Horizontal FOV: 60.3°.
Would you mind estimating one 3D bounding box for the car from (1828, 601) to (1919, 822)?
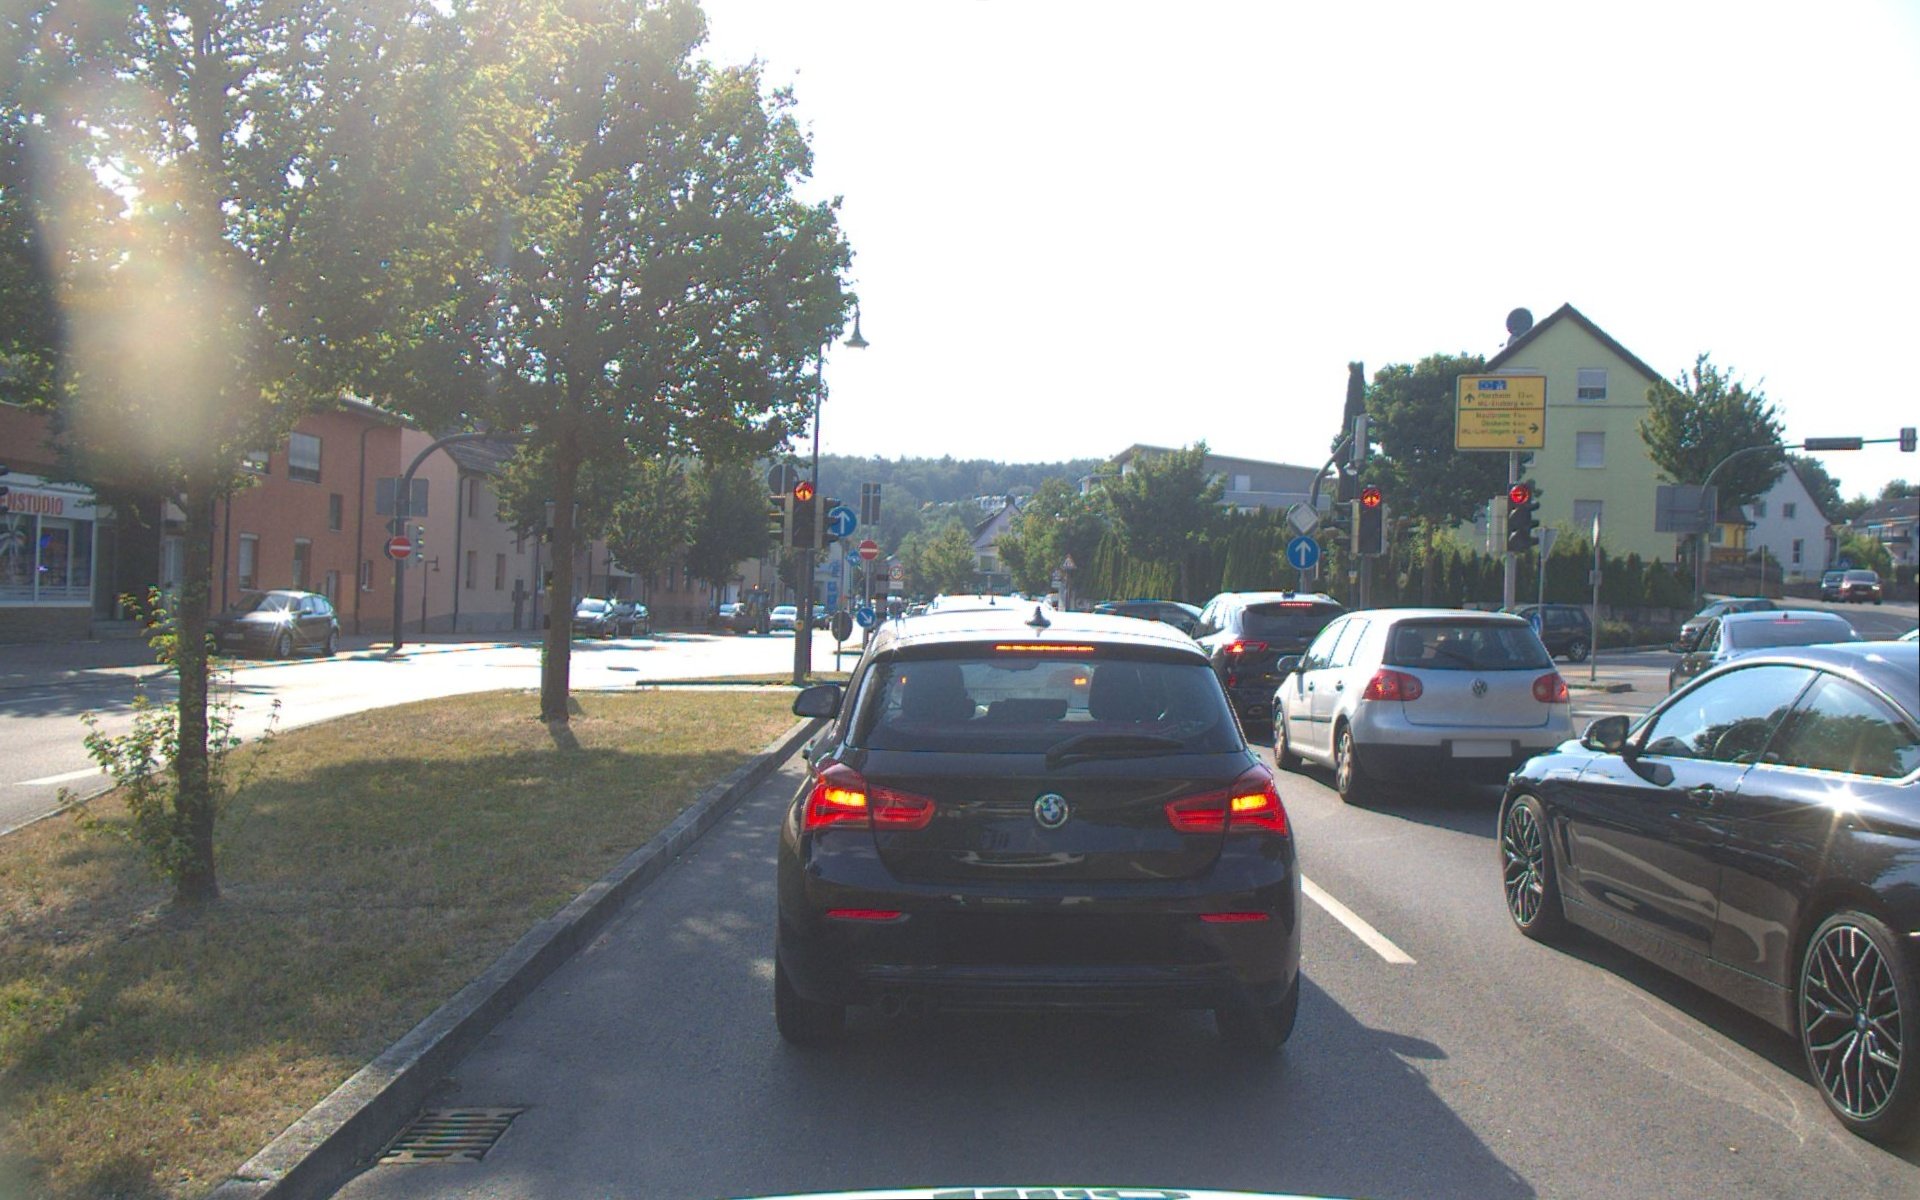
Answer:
[{"bbox_3d":[7.621,0.795,11.635,1.583,1.569,3.320,-1,0,6],"label":"car"}]

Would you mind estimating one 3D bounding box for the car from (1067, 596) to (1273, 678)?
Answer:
[{"bbox_3d":[4.645,0.779,36.523,4.117,1.709,1.970,0,0,25],"label":"car"}]

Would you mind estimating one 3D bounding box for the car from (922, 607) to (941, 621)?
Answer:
[{"bbox_3d":[-3.087,1.520,177.756,1.701,1.323,3.800,5,0,2],"label":"car"}]

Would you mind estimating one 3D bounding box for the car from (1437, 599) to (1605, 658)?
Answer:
[{"bbox_3d":[15.165,0.761,44.843,3.907,1.515,1.847,1,0,-3],"label":"car"}]

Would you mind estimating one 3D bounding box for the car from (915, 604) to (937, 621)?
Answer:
[{"bbox_3d":[-3.133,1.153,154.031,1.701,1.323,3.800,5,0,2],"label":"car"}]

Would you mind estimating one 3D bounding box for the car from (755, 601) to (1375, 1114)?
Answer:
[{"bbox_3d":[0.296,0.731,6.846,1.751,1.422,4.280,-1,0,0],"label":"car"}]

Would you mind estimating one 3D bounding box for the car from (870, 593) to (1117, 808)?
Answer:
[{"bbox_3d":[0.236,0.711,13.991,1.751,1.520,4.280,-1,0,0],"label":"car"}]

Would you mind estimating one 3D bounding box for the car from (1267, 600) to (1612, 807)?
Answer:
[{"bbox_3d":[3.792,0.736,13.783,1.725,1.451,3.902,-1,0,0],"label":"car"}]

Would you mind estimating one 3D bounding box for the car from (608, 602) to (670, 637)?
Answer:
[{"bbox_3d":[-14.123,0.835,72.905,1.701,1.323,4.001,5,0,2],"label":"car"}]

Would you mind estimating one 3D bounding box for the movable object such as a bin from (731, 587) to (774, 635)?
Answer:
[{"bbox_3d":[-11.080,0.585,88.522,1.701,2.485,4.449,0,0,0],"label":"movable object such as a bin"}]

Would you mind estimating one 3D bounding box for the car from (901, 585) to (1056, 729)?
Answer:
[{"bbox_3d":[0.206,0.644,21.031,1.751,1.622,4.280,-1,0,0],"label":"car"}]

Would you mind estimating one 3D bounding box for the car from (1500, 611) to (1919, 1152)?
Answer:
[{"bbox_3d":[3.471,0.781,5.826,1.725,1.422,4.280,-1,0,0],"label":"car"}]

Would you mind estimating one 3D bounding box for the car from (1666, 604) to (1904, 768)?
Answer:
[{"bbox_3d":[9.045,0.849,18.468,1.621,1.569,4.401,-1,0,17],"label":"car"}]

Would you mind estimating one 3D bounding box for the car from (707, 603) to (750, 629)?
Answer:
[{"bbox_3d":[-13.549,0.948,96.937,1.701,1.323,3.800,5,0,2],"label":"car"}]

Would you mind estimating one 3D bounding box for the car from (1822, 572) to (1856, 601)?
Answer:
[{"bbox_3d":[54.944,-0.839,103.413,1.807,1.770,4.778,1,0,28],"label":"car"}]

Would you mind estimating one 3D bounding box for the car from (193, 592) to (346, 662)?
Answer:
[{"bbox_3d":[-15.475,0.570,37.298,1.702,1.323,3.999,5,0,-1],"label":"car"}]

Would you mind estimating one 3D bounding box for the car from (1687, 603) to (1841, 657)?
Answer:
[{"bbox_3d":[23.837,0.890,49.076,3.922,1.515,1.840,1,0,-16],"label":"car"}]

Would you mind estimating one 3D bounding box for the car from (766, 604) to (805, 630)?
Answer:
[{"bbox_3d":[-10.521,1.015,100.098,1.701,1.323,3.800,5,0,2],"label":"car"}]

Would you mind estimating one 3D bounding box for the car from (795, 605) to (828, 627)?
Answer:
[{"bbox_3d":[-10.206,1.063,114.206,1.701,1.323,3.800,5,0,2],"label":"car"}]

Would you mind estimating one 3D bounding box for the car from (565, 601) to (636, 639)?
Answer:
[{"bbox_3d":[-14.504,0.802,66.912,1.701,1.323,4.001,5,0,3],"label":"car"}]

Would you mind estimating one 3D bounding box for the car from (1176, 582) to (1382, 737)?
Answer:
[{"bbox_3d":[3.745,0.645,20.065,1.725,1.685,3.902,-1,0,0],"label":"car"}]

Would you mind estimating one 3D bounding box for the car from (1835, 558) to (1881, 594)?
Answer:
[{"bbox_3d":[44.609,-1.173,82.210,1.806,1.670,4.426,1,0,27],"label":"car"}]
